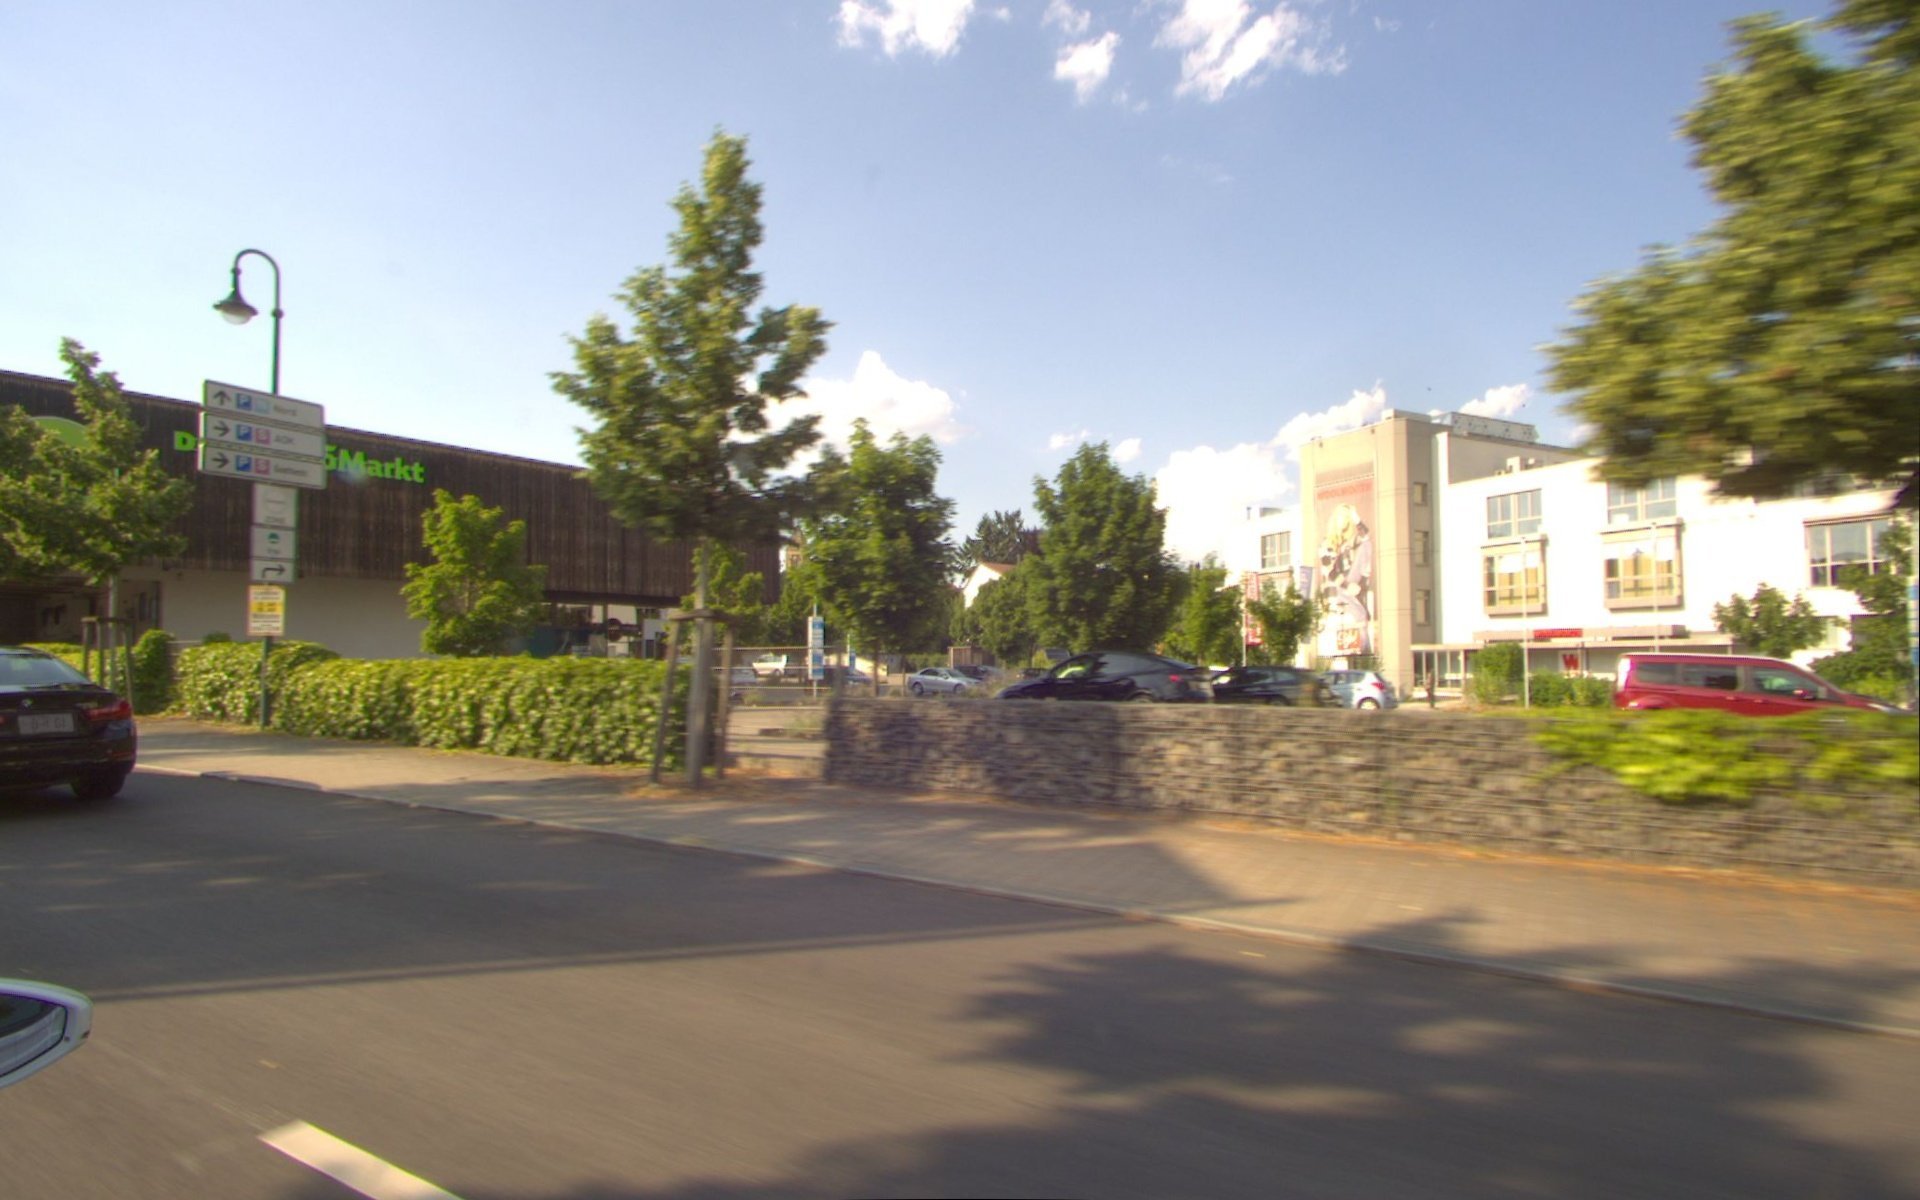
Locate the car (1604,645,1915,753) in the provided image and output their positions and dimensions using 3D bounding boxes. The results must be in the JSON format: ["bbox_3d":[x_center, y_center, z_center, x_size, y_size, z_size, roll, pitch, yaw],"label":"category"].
[{"bbox_3d":[15.508,1.858,19.816,4.584,1.877,1.989,-1,-3,35],"label":"car"}]

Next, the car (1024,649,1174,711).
[{"bbox_3d":[4.289,2.474,31.226,4.264,1.743,1.883,-1,-5,40],"label":"car"}]

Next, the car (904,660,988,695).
[{"bbox_3d":[-0.751,3.969,51.598,3.949,1.648,1.988,-1,-3,37],"label":"car"}]

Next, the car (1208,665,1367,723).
[{"bbox_3d":[9.249,2.605,28.339,3.898,1.461,1.990,-1,-3,34],"label":"car"}]

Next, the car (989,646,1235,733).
[{"bbox_3d":[3.015,1.755,20.175,4.486,1.549,1.991,-1,-5,34],"label":"car"}]

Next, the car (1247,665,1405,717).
[{"bbox_3d":[11.706,2.872,32.156,4.486,1.461,1.869,-1,-3,34],"label":"car"}]

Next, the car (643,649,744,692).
[{"bbox_3d":[-10.927,2.848,40.980,3.949,1.648,1.988,-1,-3,37],"label":"car"}]

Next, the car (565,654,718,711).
[{"bbox_3d":[-9.562,2.419,29.977,4.486,1.558,1.990,-1,-3,34],"label":"car"}]

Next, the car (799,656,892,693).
[{"bbox_3d":[-5.263,3.380,45.786,3.949,1.570,1.988,-1,-3,37],"label":"car"}]

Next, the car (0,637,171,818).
[{"bbox_3d":[-9.154,1.025,8.917,4.288,1.381,1.918,-1,-2,30],"label":"car"}]

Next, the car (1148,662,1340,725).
[{"bbox_3d":[7.427,2.393,26.348,4.486,1.461,1.990,-1,-4,34],"label":"car"}]
